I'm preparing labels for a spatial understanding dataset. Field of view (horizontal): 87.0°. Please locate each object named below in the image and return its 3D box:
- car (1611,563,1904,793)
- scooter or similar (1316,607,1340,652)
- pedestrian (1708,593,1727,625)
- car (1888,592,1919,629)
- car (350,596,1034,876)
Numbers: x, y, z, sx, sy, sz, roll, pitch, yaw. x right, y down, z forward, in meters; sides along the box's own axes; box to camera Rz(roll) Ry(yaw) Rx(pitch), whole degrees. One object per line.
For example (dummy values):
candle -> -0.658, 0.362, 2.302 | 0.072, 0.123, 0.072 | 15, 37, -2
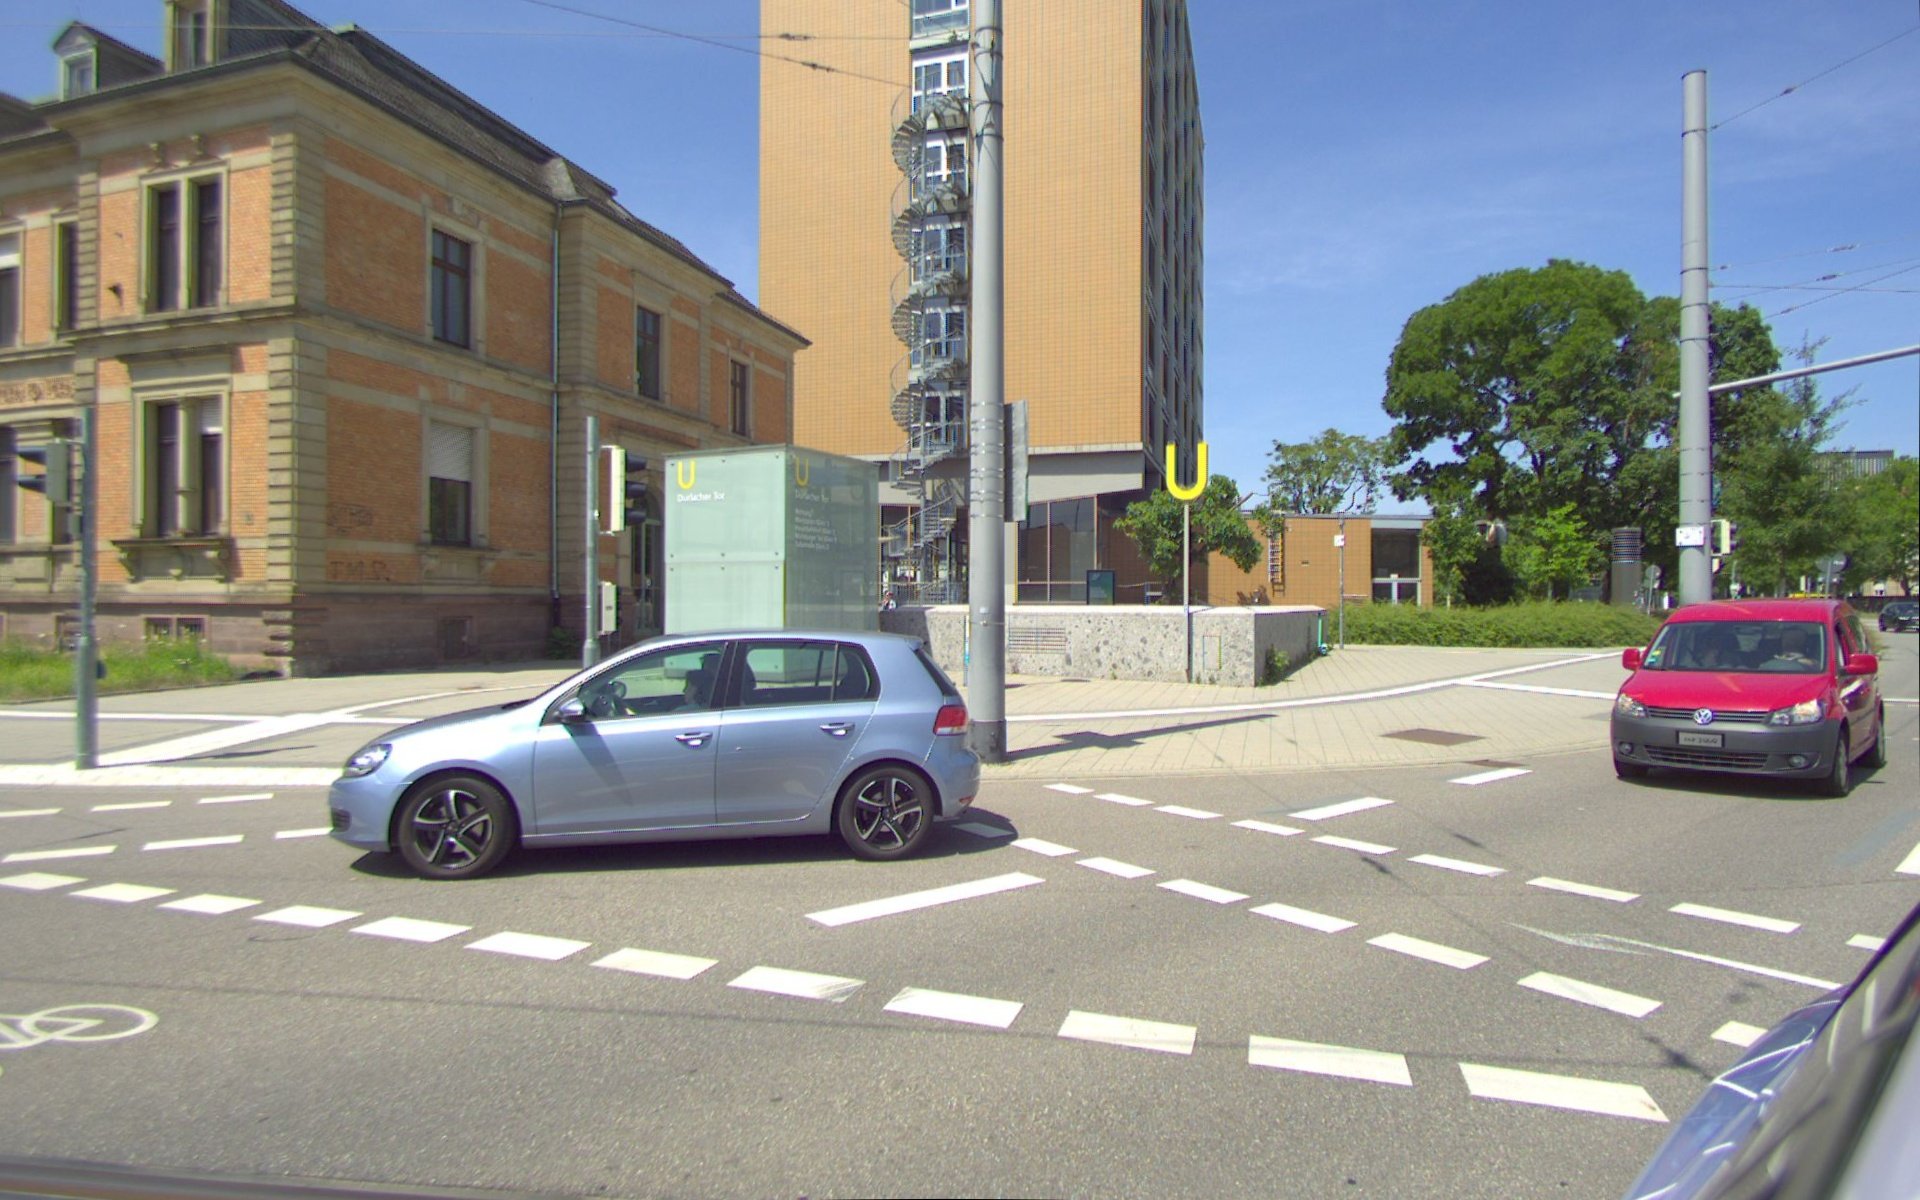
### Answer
car -> 8.362, 0.648, 10.451 | 4.468, 1.883, 1.653 | 0, -1, -43
scooter or similar -> 9.896, 0.774, 27.176 | 0.454, 1.185, 1.239 | -1, -1, 27
pedestrian -> 42.771, 0.494, 57.117 | 0.603, 1.821, 0.727 | 0, -1, -42
car -> 53.194, 0.565, 55.891 | 1.983, 2.039, 3.957 | -1, 0, 30
car -> -1.639, 0.771, 6.832 | 3.920, 1.478, 1.659 | -1, -2, -12
